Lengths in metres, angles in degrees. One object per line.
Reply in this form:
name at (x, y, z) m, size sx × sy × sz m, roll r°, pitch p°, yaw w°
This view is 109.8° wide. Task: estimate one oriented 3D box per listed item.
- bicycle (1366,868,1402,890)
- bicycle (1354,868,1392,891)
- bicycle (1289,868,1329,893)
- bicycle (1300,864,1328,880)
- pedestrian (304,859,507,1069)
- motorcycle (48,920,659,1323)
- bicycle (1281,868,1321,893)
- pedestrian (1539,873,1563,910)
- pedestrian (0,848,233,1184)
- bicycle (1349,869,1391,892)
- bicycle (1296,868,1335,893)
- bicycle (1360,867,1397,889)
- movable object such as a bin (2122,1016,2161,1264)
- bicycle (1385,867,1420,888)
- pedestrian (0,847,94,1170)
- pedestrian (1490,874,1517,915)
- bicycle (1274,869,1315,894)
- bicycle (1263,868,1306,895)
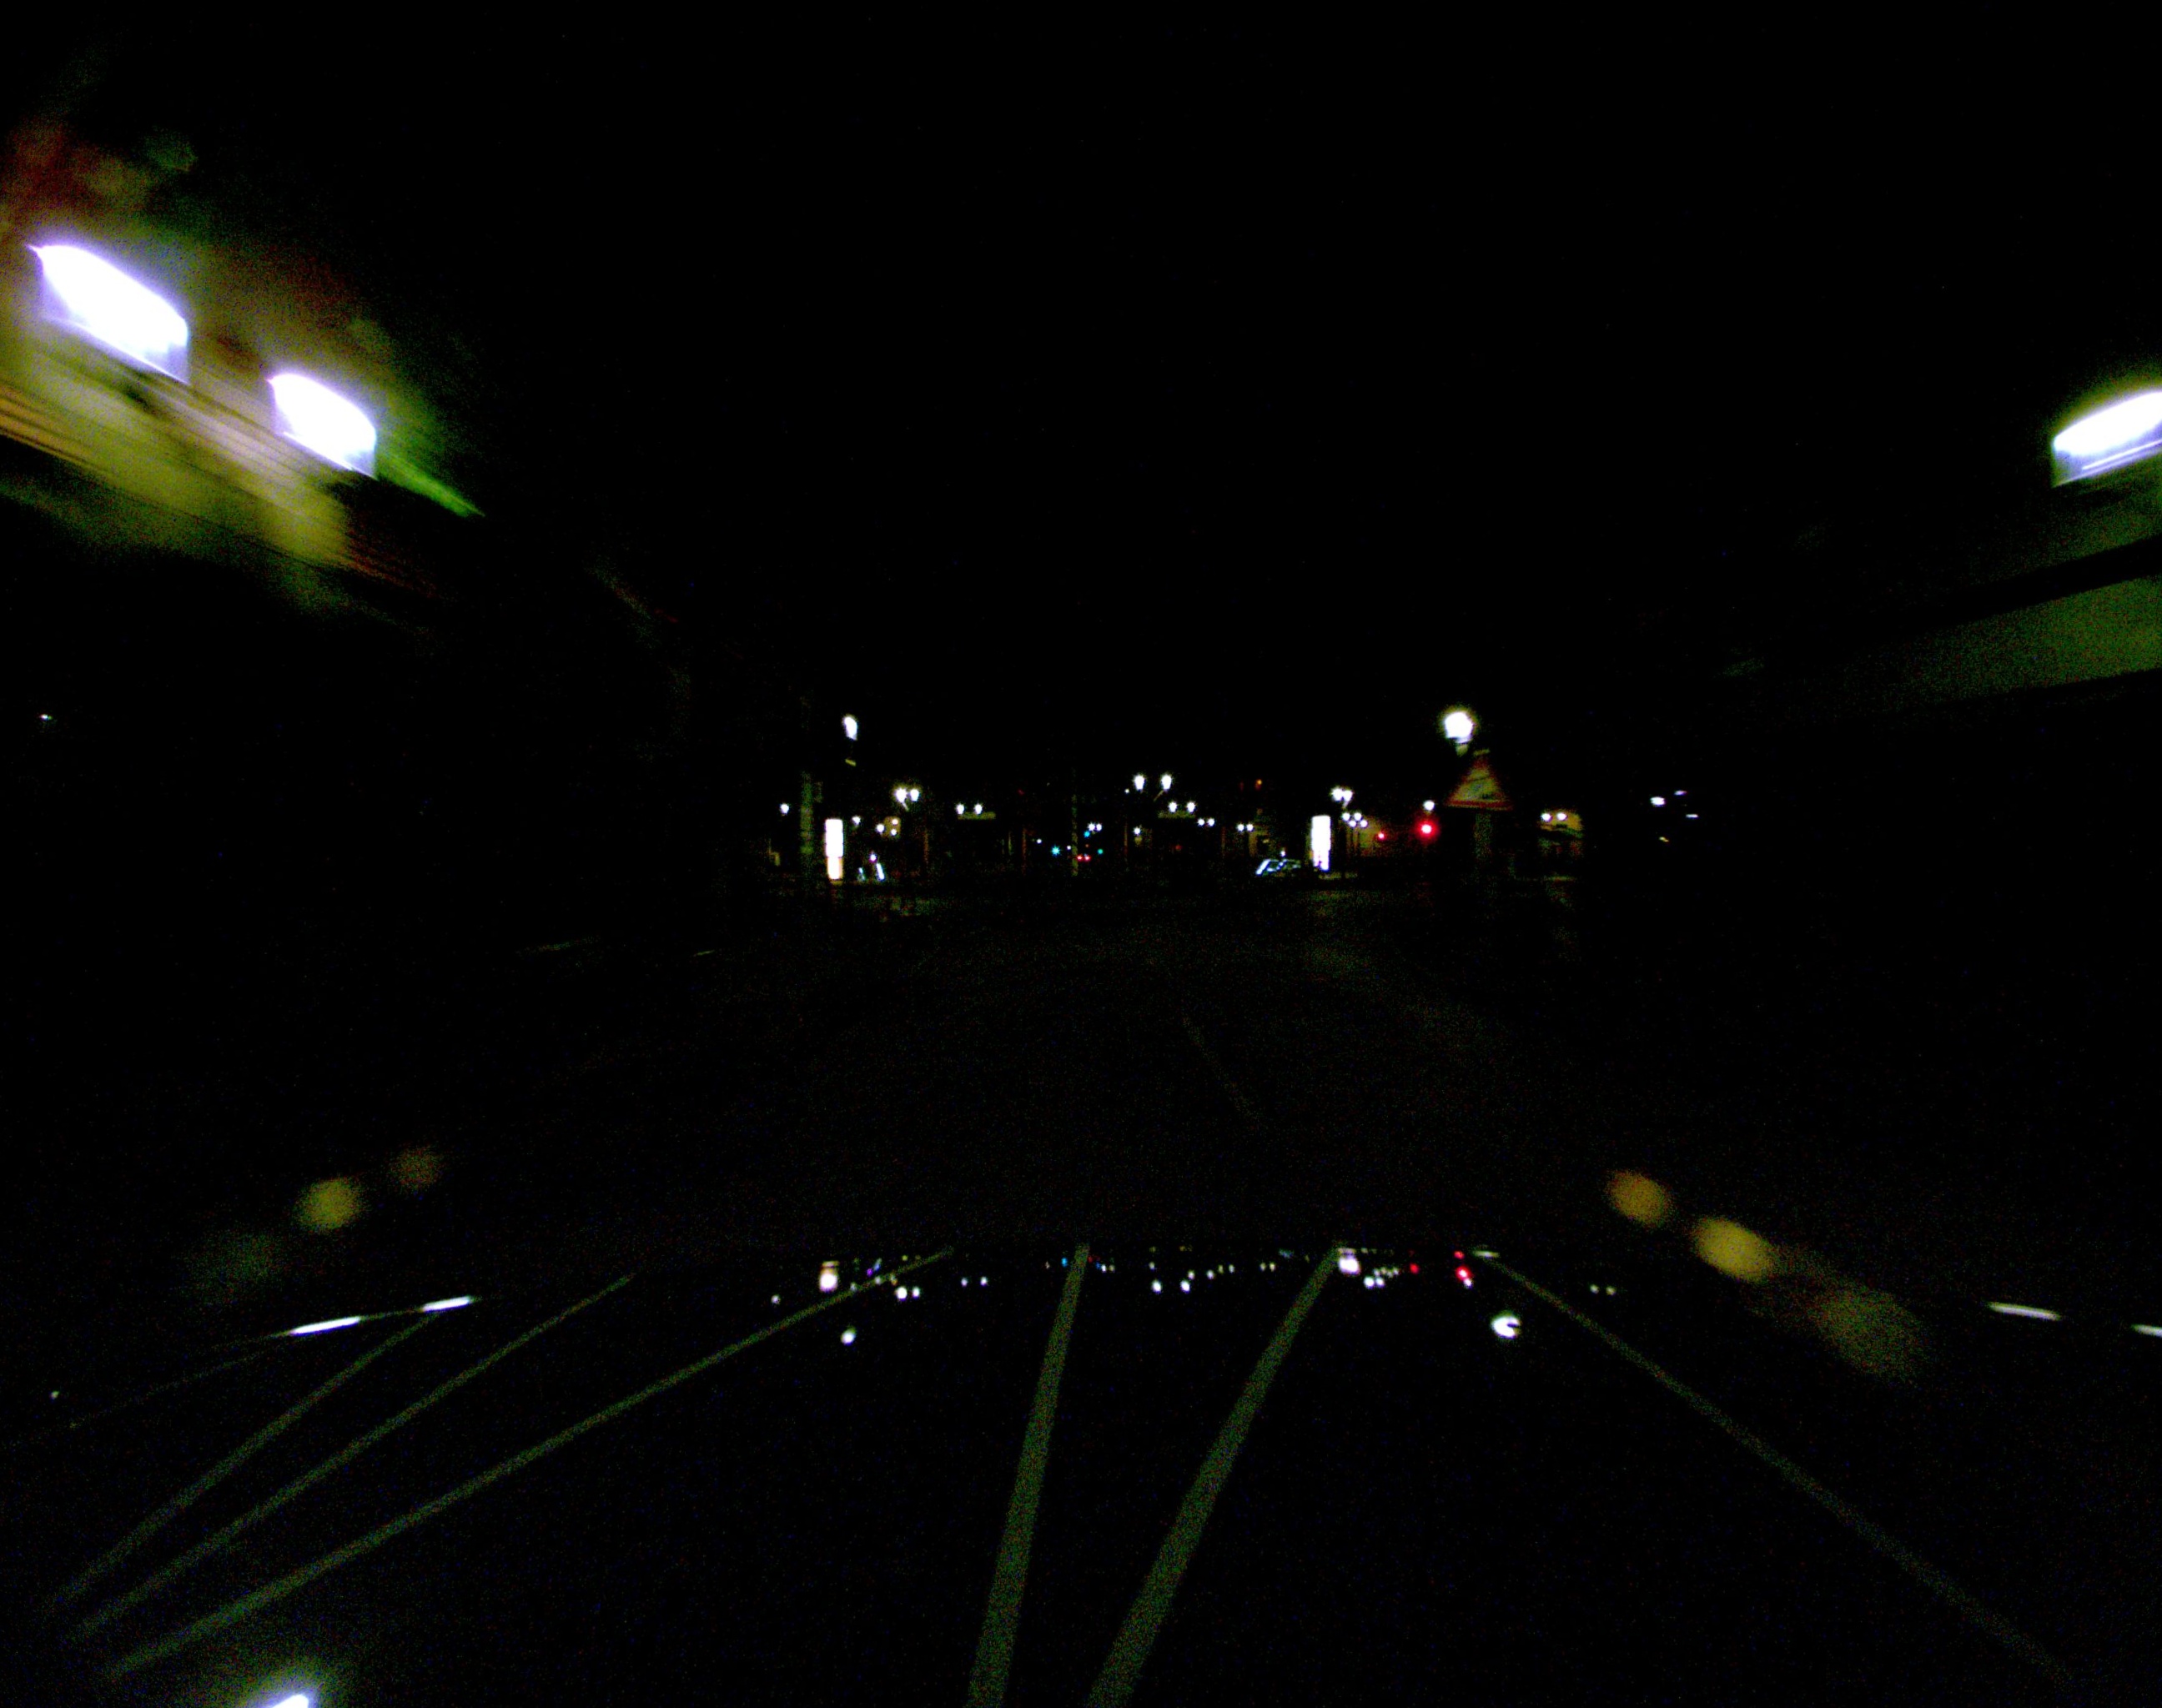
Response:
bicycle at (16.356, 1.339, 40.986) m, size 1.655 × 1.128 × 0.644 m, roll 1°, pitch 1°, yaw 43°
bicycle at (15.558, 1.338, 40.526) m, size 1.788 × 1.128 × 0.631 m, roll 1°, pitch 1°, yaw 42°
bicycle at (11.067, 1.277, 36.944) m, size 0.583 × 1.144 × 1.772 m, roll 0°, pitch 1°, yaw -42°
bicycle at (17.110, 1.320, 55.786) m, size 1.803 × 1.121 × 0.650 m, roll 0°, pitch 0°, yaw -7°
pedestrian at (-5.615, 0.859, 6.393) m, size 0.809 × 1.621 × 0.966 m, roll 0°, pitch 1°, yaw 1°
motorcycle at (-3.188, 1.053, 3.644) m, size 1.948 × 1.345 × 0.761 m, roll 1°, pitch 0°, yaw -35°
bicycle at (10.556, 1.256, 36.459) m, size 1.772 × 1.144 × 0.583 m, roll 1°, pitch 1°, yaw 42°
pedestrian at (15.347, 1.218, 24.800) m, size 0.575 × 1.157 × 0.679 m, roll 1°, pitch 1°, yaw 40°
pedestrian at (-5.337, 0.822, 4.197) m, size 0.508 × 1.699 × 0.705 m, roll 1°, pitch 0°, yaw 1°
bicycle at (14.947, 1.348, 39.357) m, size 1.865 × 1.128 × 0.727 m, roll 1°, pitch 1°, yaw 42°
bicycle at (11.519, 1.303, 37.375) m, size 0.583 × 1.144 × 1.772 m, roll 0°, pitch 1°, yaw -42°
bicycle at (16.593, 1.330, 42.359) m, size 1.770 × 1.134 × 0.688 m, roll 1°, pitch 1°, yaw 43°
movable object such as a bin at (5.467, 1.387, 3.563) m, size 0.691 × 1.043 × 0.623 m, roll -2°, pitch 2°, yaw -40°
bicycle at (18.377, 1.324, 43.433) m, size 1.655 × 1.134 × 0.829 m, roll 1°, pitch 1°, yaw 43°
pedestrian at (-5.910, 0.812, 4.076) m, size 0.478 × 1.699 × 0.571 m, roll 1°, pitch 0°, yaw 1°
pedestrian at (14.504, 1.386, 26.071) m, size 0.676 × 1.370 × 0.578 m, roll 1°, pitch 1°, yaw 40°
bicycle at (10.081, 1.279, 35.904) m, size 1.772 × 1.144 × 0.615 m, roll 1°, pitch 1°, yaw 42°
bicycle at (9.459, 1.264, 35.337) m, size 1.783 × 1.144 × 0.761 m, roll 1°, pitch 1°, yaw 42°
